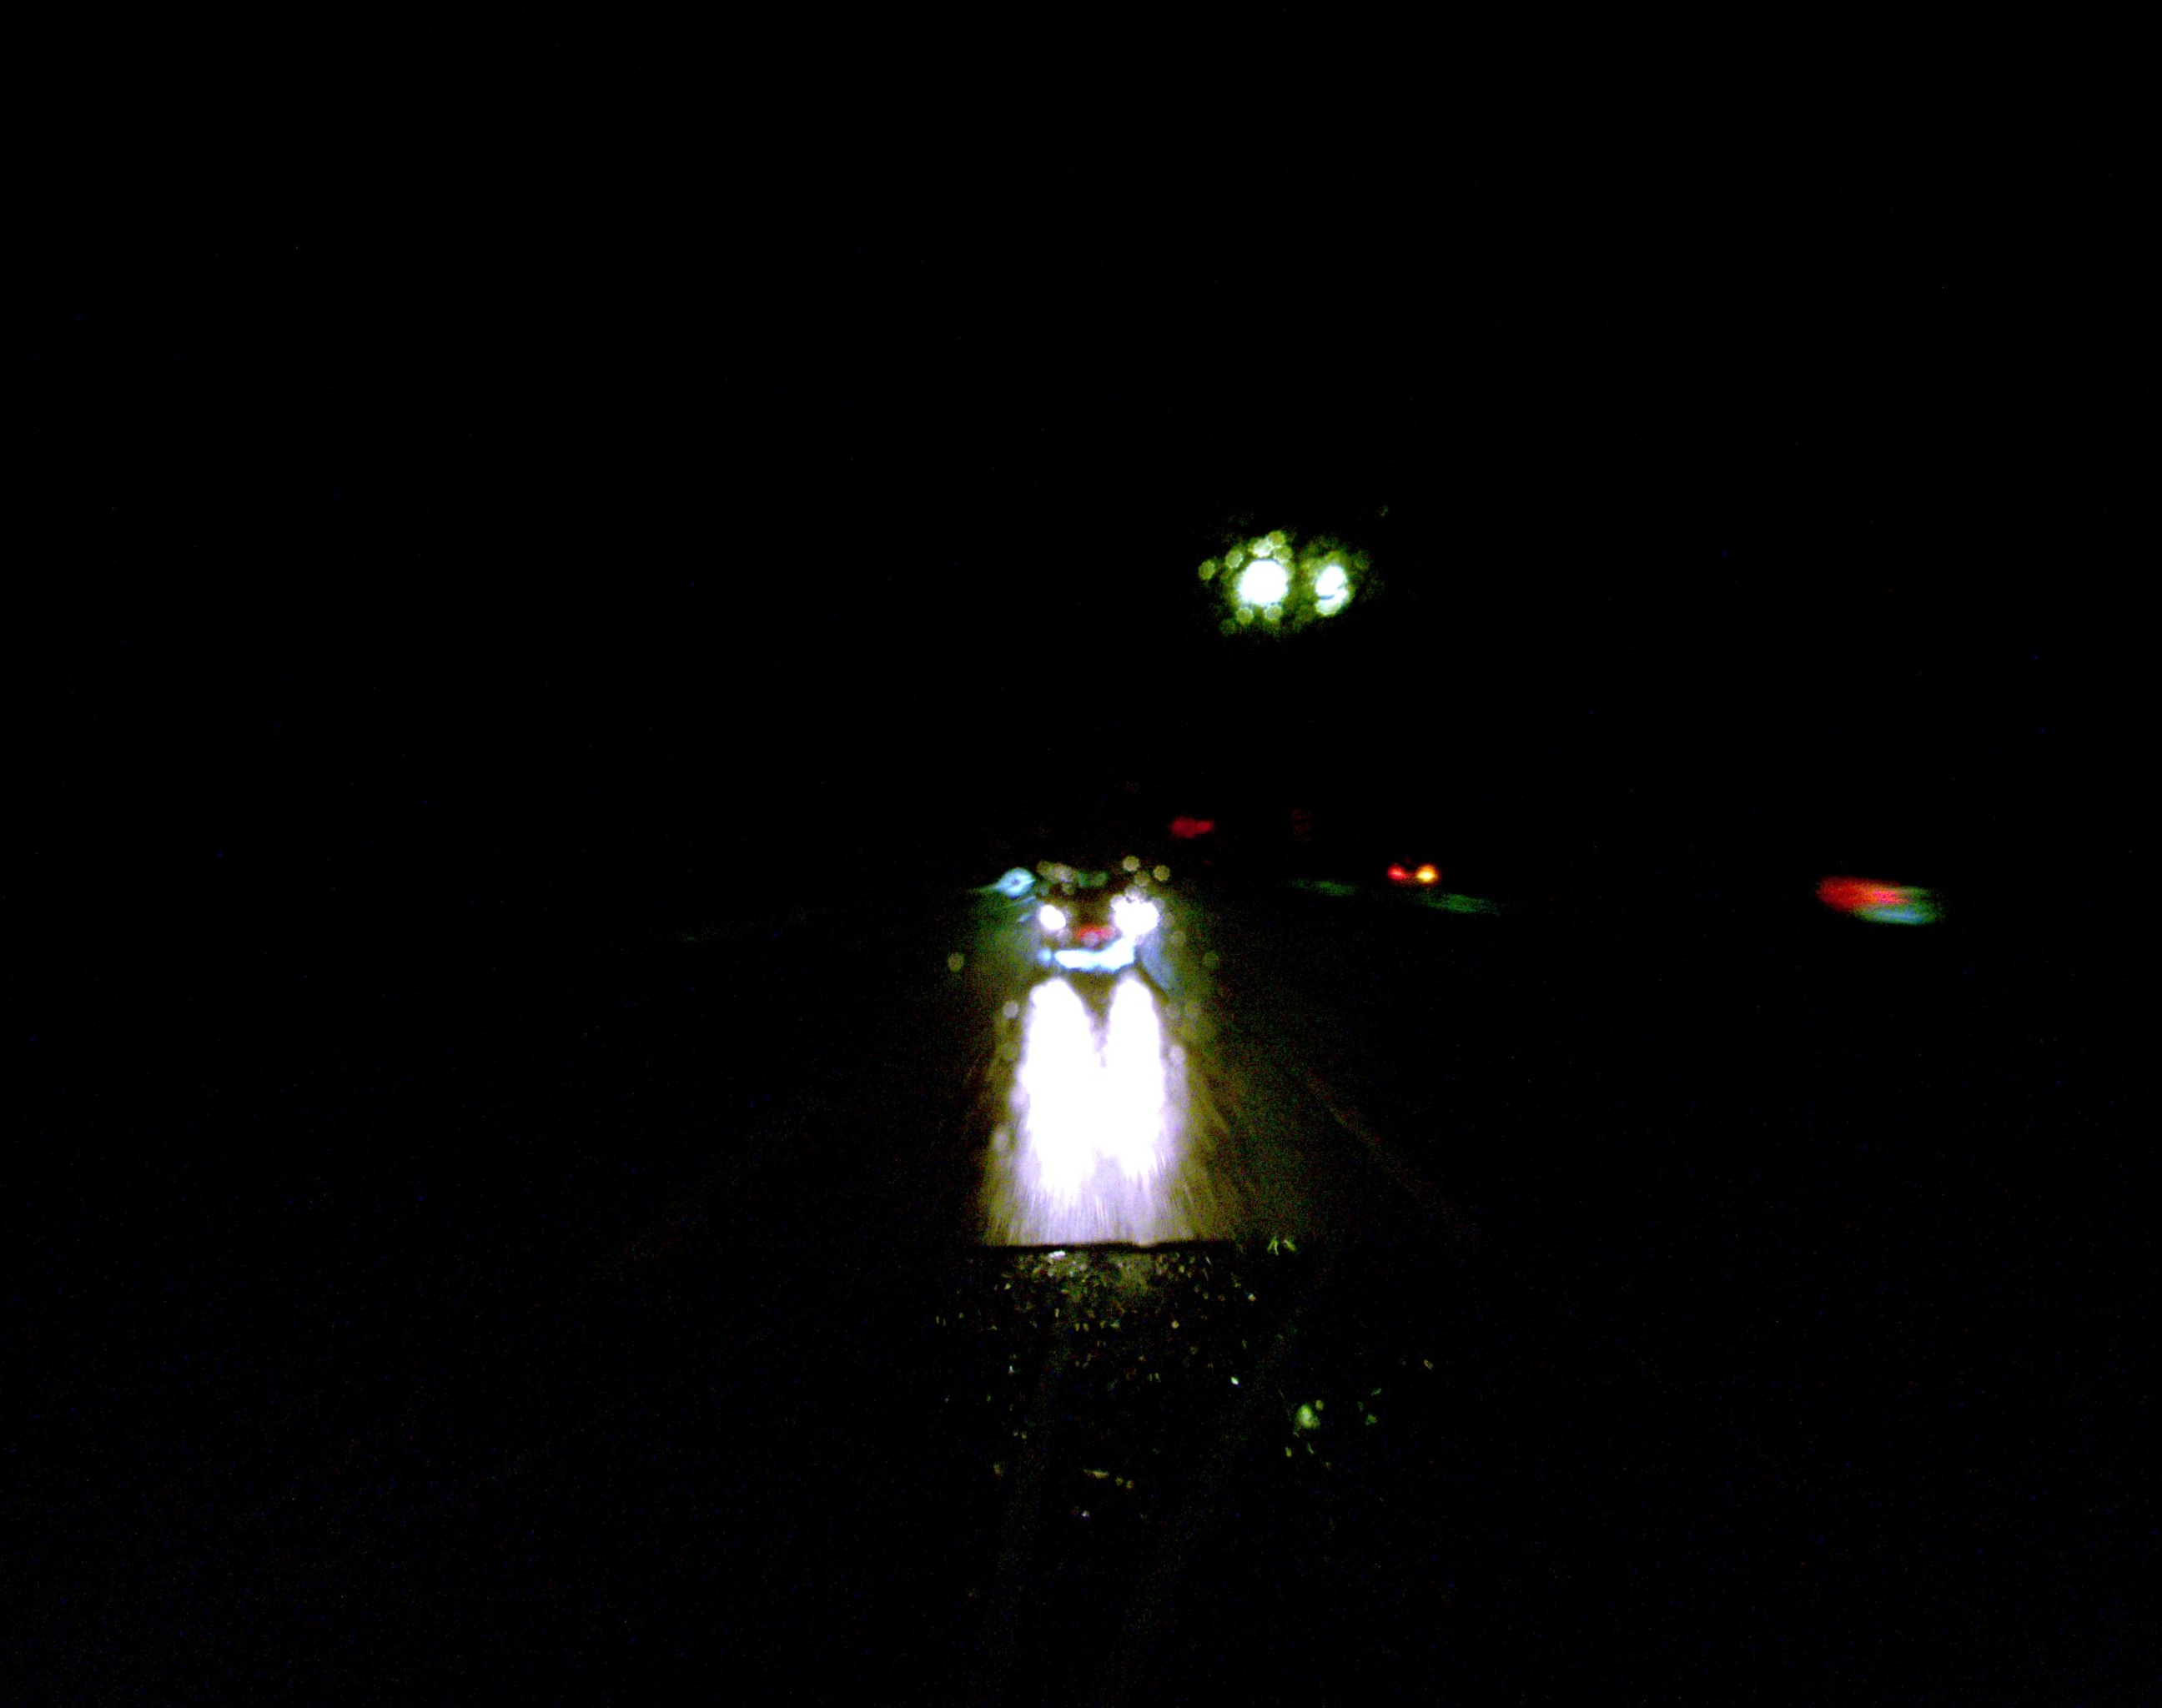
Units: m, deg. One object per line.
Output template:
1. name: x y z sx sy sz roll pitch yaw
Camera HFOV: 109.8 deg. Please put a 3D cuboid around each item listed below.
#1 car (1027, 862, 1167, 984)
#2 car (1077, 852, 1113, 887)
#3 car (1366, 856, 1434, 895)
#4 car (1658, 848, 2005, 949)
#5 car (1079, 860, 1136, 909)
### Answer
1. car: 0.378 0.977 12.419 1.848 1.441 4.000 -3 1 5
2. car: 0.700 0.812 41.745 1.784 1.696 3.999 -3 1 0
3. car: 14.785 0.956 35.452 1.604 1.543 3.833 -3 1 1
4. car: 14.253 0.724 14.996 2.028 1.494 4.895 -3 1 1
5. car: 1.041 1.060 27.987 1.848 1.441 3.875 -3 1 5
